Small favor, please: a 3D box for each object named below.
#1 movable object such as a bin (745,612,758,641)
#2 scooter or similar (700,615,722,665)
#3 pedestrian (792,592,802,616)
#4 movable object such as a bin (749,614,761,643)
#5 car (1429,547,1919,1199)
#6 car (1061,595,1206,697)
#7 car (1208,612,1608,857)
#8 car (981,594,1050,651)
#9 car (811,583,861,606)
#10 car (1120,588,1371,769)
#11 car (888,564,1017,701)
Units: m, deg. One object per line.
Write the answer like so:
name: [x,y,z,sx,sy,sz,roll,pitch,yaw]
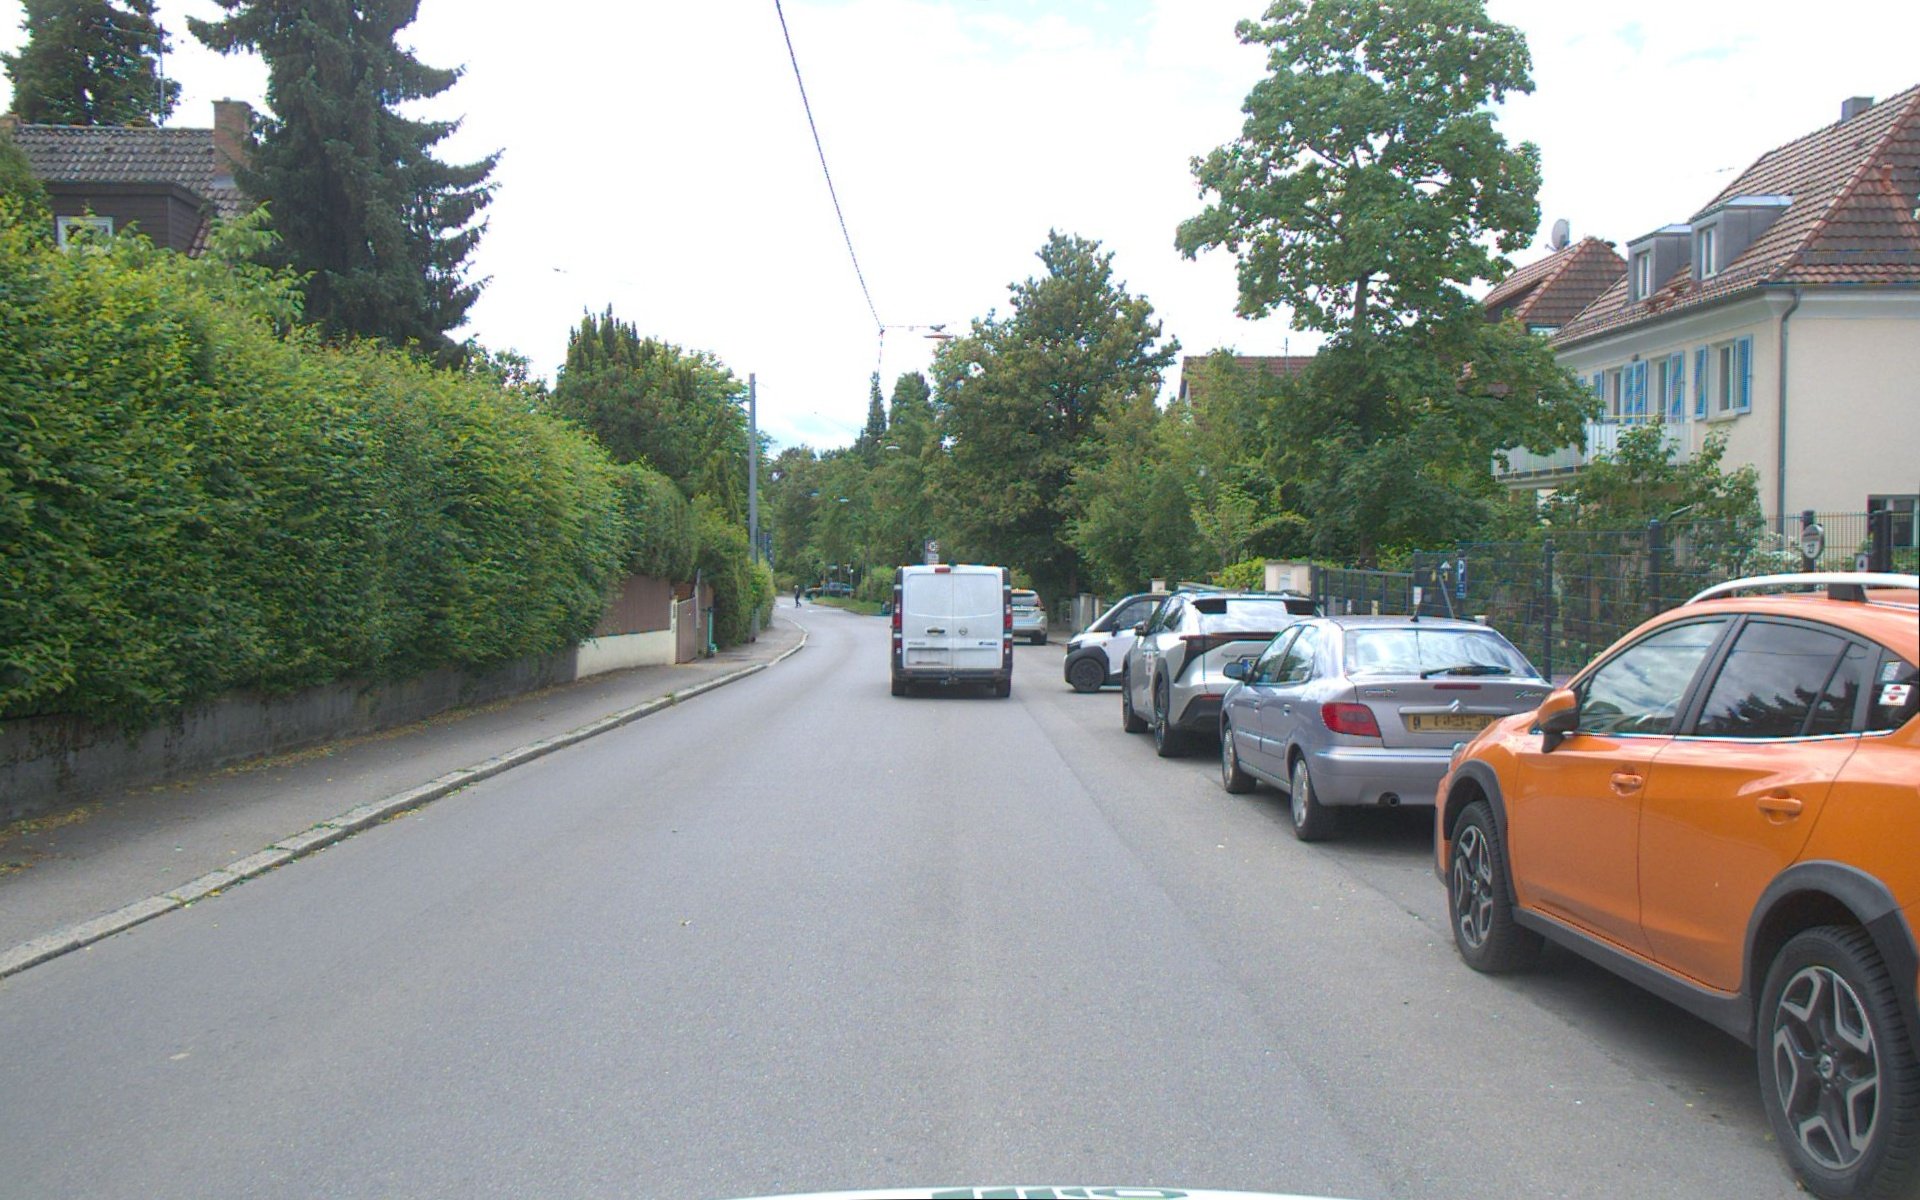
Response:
movable object such as a bin: [-6.524,0.832,51.850,0.329,0.909,0.476,1,0,0]
scooter or similar: [-6.052,0.964,40.208,0.384,1.191,1.270,0,0,-2]
pedestrian: [-11.519,0.304,116.900,0.684,1.644,0.714,0,2,-8]
movable object such as a bin: [-6.514,0.889,52.513,0.329,0.909,0.476,1,0,-1]
car: [3.137,0.708,5.553,1.813,1.655,4.168,1,0,-2]
car: [2.766,0.719,26.658,2.239,1.550,1.319,-1,1,4]
car: [2.976,0.810,11.925,1.681,1.406,4.235,0,0,-1]
car: [1.728,0.684,52.639,1.828,1.714,4.347,0,0,-3]
car: [-10.666,-0.474,142.370,4.304,1.892,1.901,0,1,-5]
car: [2.826,0.708,17.349,1.792,1.652,4.491,0,0,-1]
car: [-0.198,0.427,26.330,1.891,1.998,4.400,0,1,-2]
